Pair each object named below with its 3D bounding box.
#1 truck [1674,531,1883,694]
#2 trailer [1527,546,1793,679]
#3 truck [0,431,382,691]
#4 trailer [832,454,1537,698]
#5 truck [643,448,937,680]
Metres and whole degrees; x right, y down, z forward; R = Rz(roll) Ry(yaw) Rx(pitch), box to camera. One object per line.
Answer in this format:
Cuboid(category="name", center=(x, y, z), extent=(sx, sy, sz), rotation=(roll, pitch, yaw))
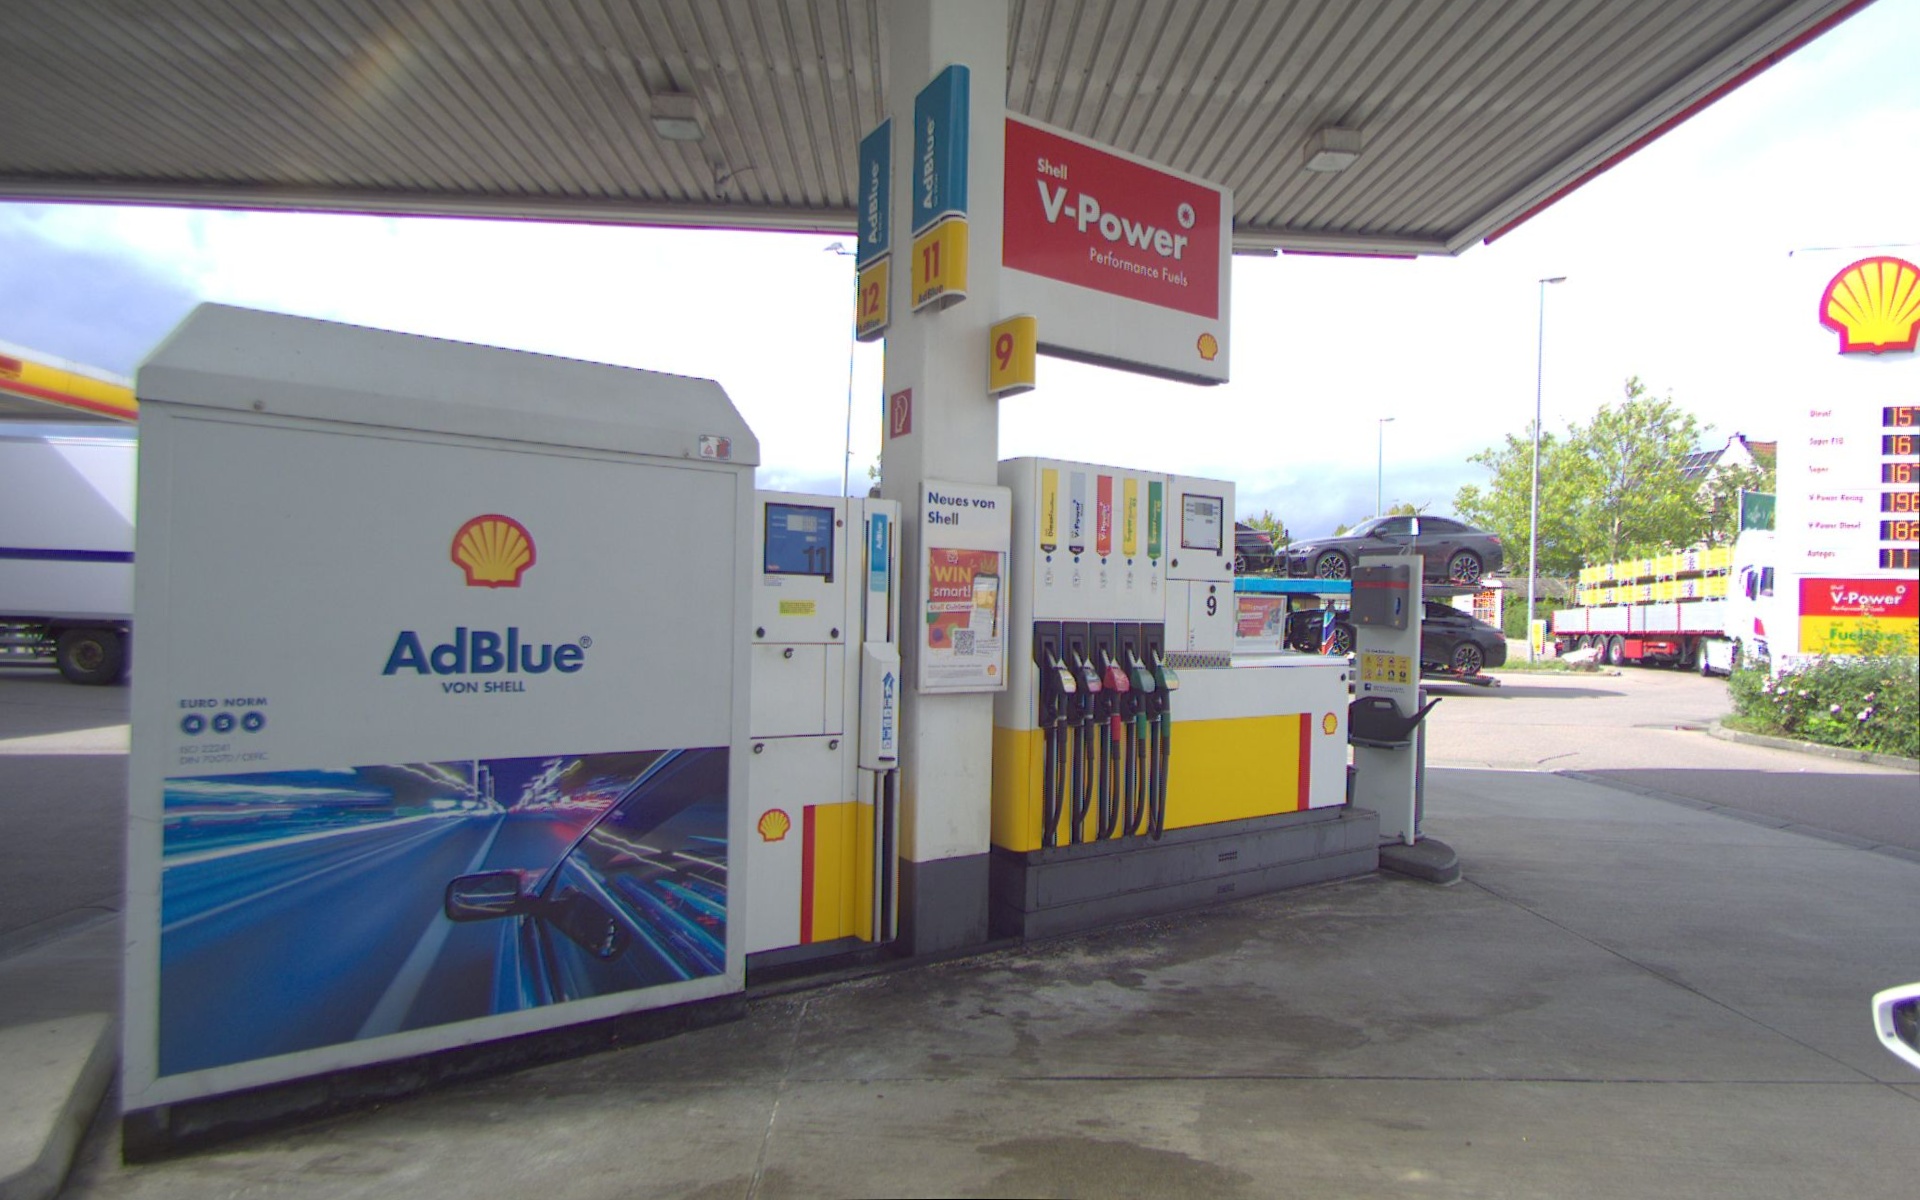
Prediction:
Cuboid(category="truck", center=(21.841, 0.305, 27.215), extent=(2.688, 3.897, 5.916), rotation=(2, 0, 22))
Cuboid(category="trailer", center=(24.107, 0.416, 35.833), extent=(2.684, 3.826, 12.721), rotation=(2, 0, 11))
Cuboid(category="truck", center=(-17.301, -0.741, 17.502), extent=(12.654, 4.092, 2.534), rotation=(2, 0, -3))
Cuboid(category="trailer", center=(4.526, -0.471, 21.587), extent=(14.077, 4.481, 2.746), rotation=(2, 0, 0))
Cuboid(category="truck", center=(-3.449, -0.707, 21.548), extent=(5.713, 4.479, 2.750), rotation=(2, 0, 0))
